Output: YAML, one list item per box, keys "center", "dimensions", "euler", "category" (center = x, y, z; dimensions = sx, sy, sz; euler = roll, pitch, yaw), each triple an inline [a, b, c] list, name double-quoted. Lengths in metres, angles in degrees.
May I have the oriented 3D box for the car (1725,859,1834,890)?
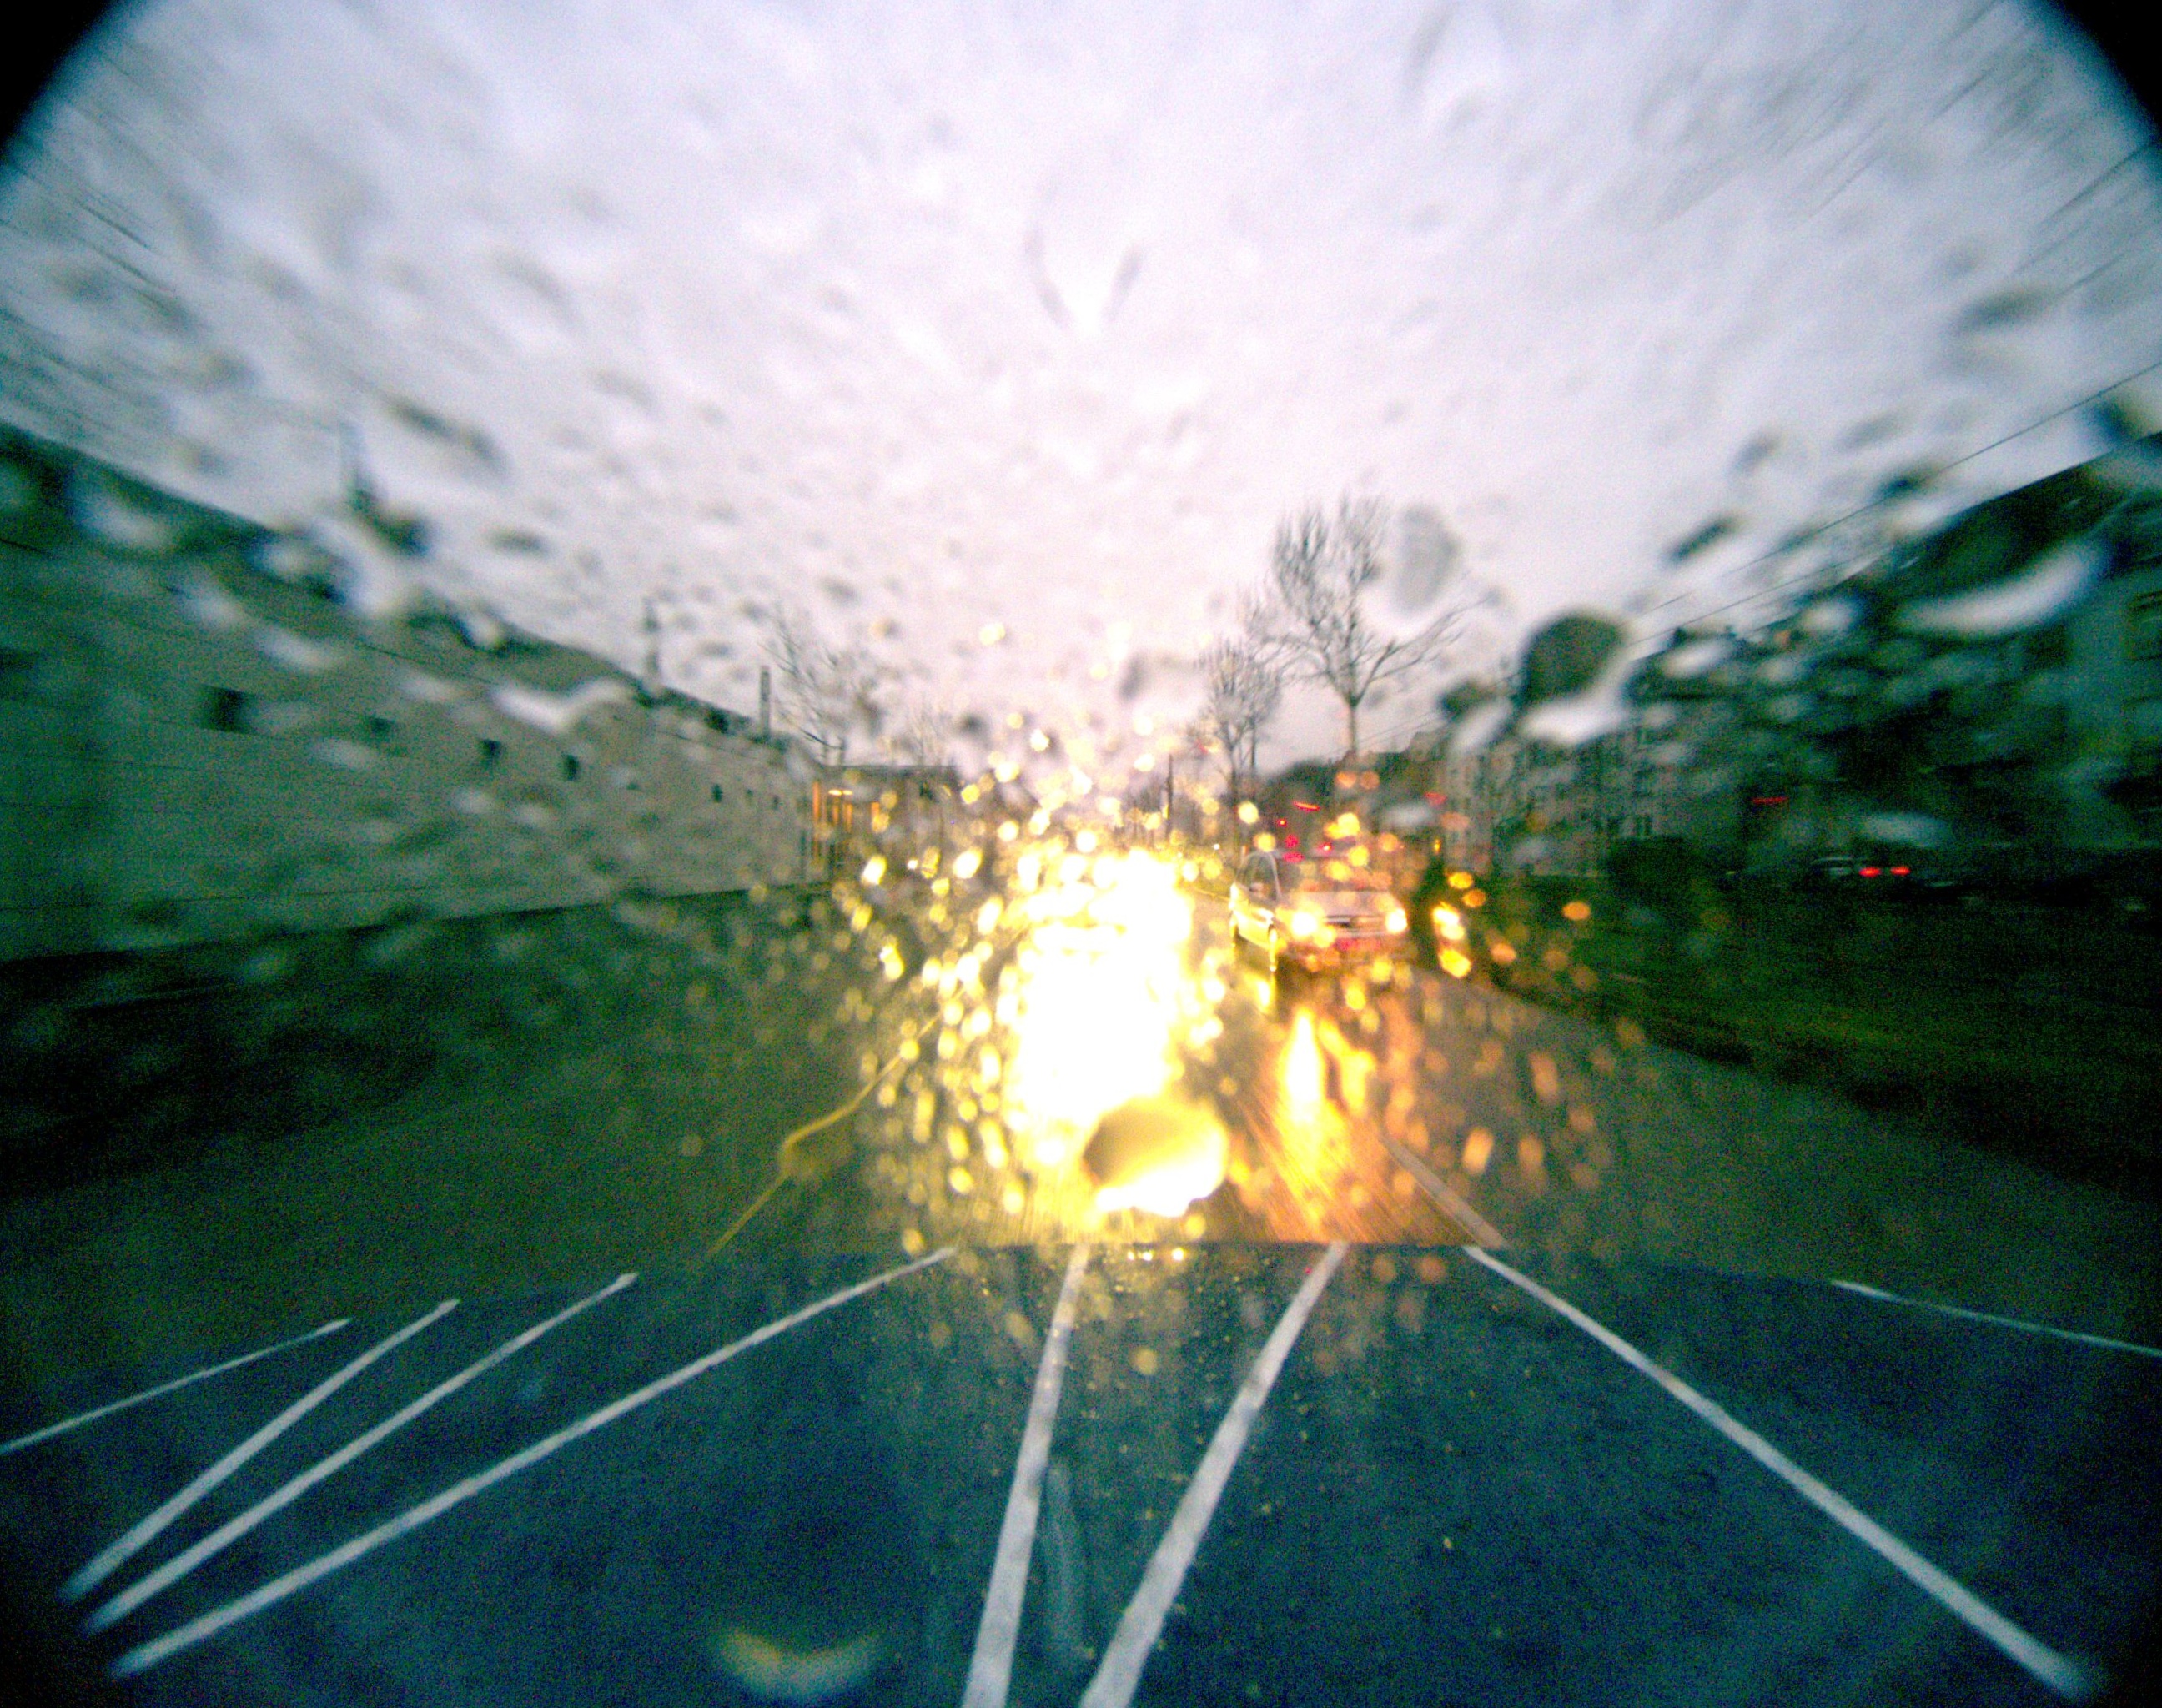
- center: [30.292, 0.863, 33.102]
  dimensions: [1.233, 1.162, 3.900]
  euler: [-2, 1, 1]
  category: "car"

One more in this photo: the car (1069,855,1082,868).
- center: [-0.734, 1.092, 110.999]
  dimensions: [1.787, 1.690, 3.639]
  euler: [-2, 1, 1]
  category: "car"

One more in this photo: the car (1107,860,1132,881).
- center: [2.705, 1.168, 53.812]
  dimensions: [1.538, 1.347, 3.546]
  euler: [-2, 1, 0]
  category: "car"

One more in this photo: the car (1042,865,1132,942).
- center: [0.132, 0.973, 16.324]
  dimensions: [1.669, 1.325, 3.786]
  euler: [-2, 1, 0]
  category: "car"

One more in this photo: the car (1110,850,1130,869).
- center: [3.801, 0.510, 74.499]
  dimensions: [1.802, 1.674, 3.805]
  euler: [-2, 1, 0]
  category: "car"

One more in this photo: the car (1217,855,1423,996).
- center: [3.091, 0.823, 10.645]
  dimensions: [1.638, 1.511, 3.907]
  euler: [-2, 1, 0]
  category: "car"

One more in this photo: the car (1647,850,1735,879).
- center: [30.770, 0.492, 38.482]
  dimensions: [1.468, 1.332, 3.910]
  euler: [-2, 1, 3]
  category: "car"

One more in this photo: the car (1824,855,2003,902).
- center: [28.384, 0.845, 26.114]
  dimensions: [3.940, 1.440, 1.823]
  euler: [-2, 0, 41]
  category: "car"

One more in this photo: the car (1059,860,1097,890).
- center: [-0.135, 1.006, 37.862]
  dimensions: [1.737, 1.311, 3.803]
  euler: [-2, 1, 0]
  category: "car"

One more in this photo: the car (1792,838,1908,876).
- center: [34.634, 0.119, 34.370]
  dimensions: [1.684, 1.542, 3.538]
  euler: [-2, 1, 1]
  category: "car"

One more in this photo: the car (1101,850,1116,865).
- center: [3.324, 0.409, 91.548]
  dimensions: [1.686, 1.669, 3.468]
  euler: [-2, 1, 1]
  category: "car"

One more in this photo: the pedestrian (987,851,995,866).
- center: [-9.990, 0.525, 84.363]
  dimensions: [0.814, 1.621, 0.883]
  euler: [2, 1, 0]
  category: "pedestrian"

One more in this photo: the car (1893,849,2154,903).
- center: [28.000, 0.652, 22.852]
  dimensions: [4.651, 1.423, 1.697]
  euler: [-2, 1, 37]
  category: "car"

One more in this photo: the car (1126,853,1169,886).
- center: [3.346, 0.759, 38.873]
  dimensions: [1.905, 1.475, 3.655]
  euler: [-2, 1, 2]
  category: "car"

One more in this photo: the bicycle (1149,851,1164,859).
- center: [9.394, 0.115, 94.655]
  dimensions: [1.725, 0.893, 0.733]
  euler: [2, 1, 1]
  category: "bicycle"
